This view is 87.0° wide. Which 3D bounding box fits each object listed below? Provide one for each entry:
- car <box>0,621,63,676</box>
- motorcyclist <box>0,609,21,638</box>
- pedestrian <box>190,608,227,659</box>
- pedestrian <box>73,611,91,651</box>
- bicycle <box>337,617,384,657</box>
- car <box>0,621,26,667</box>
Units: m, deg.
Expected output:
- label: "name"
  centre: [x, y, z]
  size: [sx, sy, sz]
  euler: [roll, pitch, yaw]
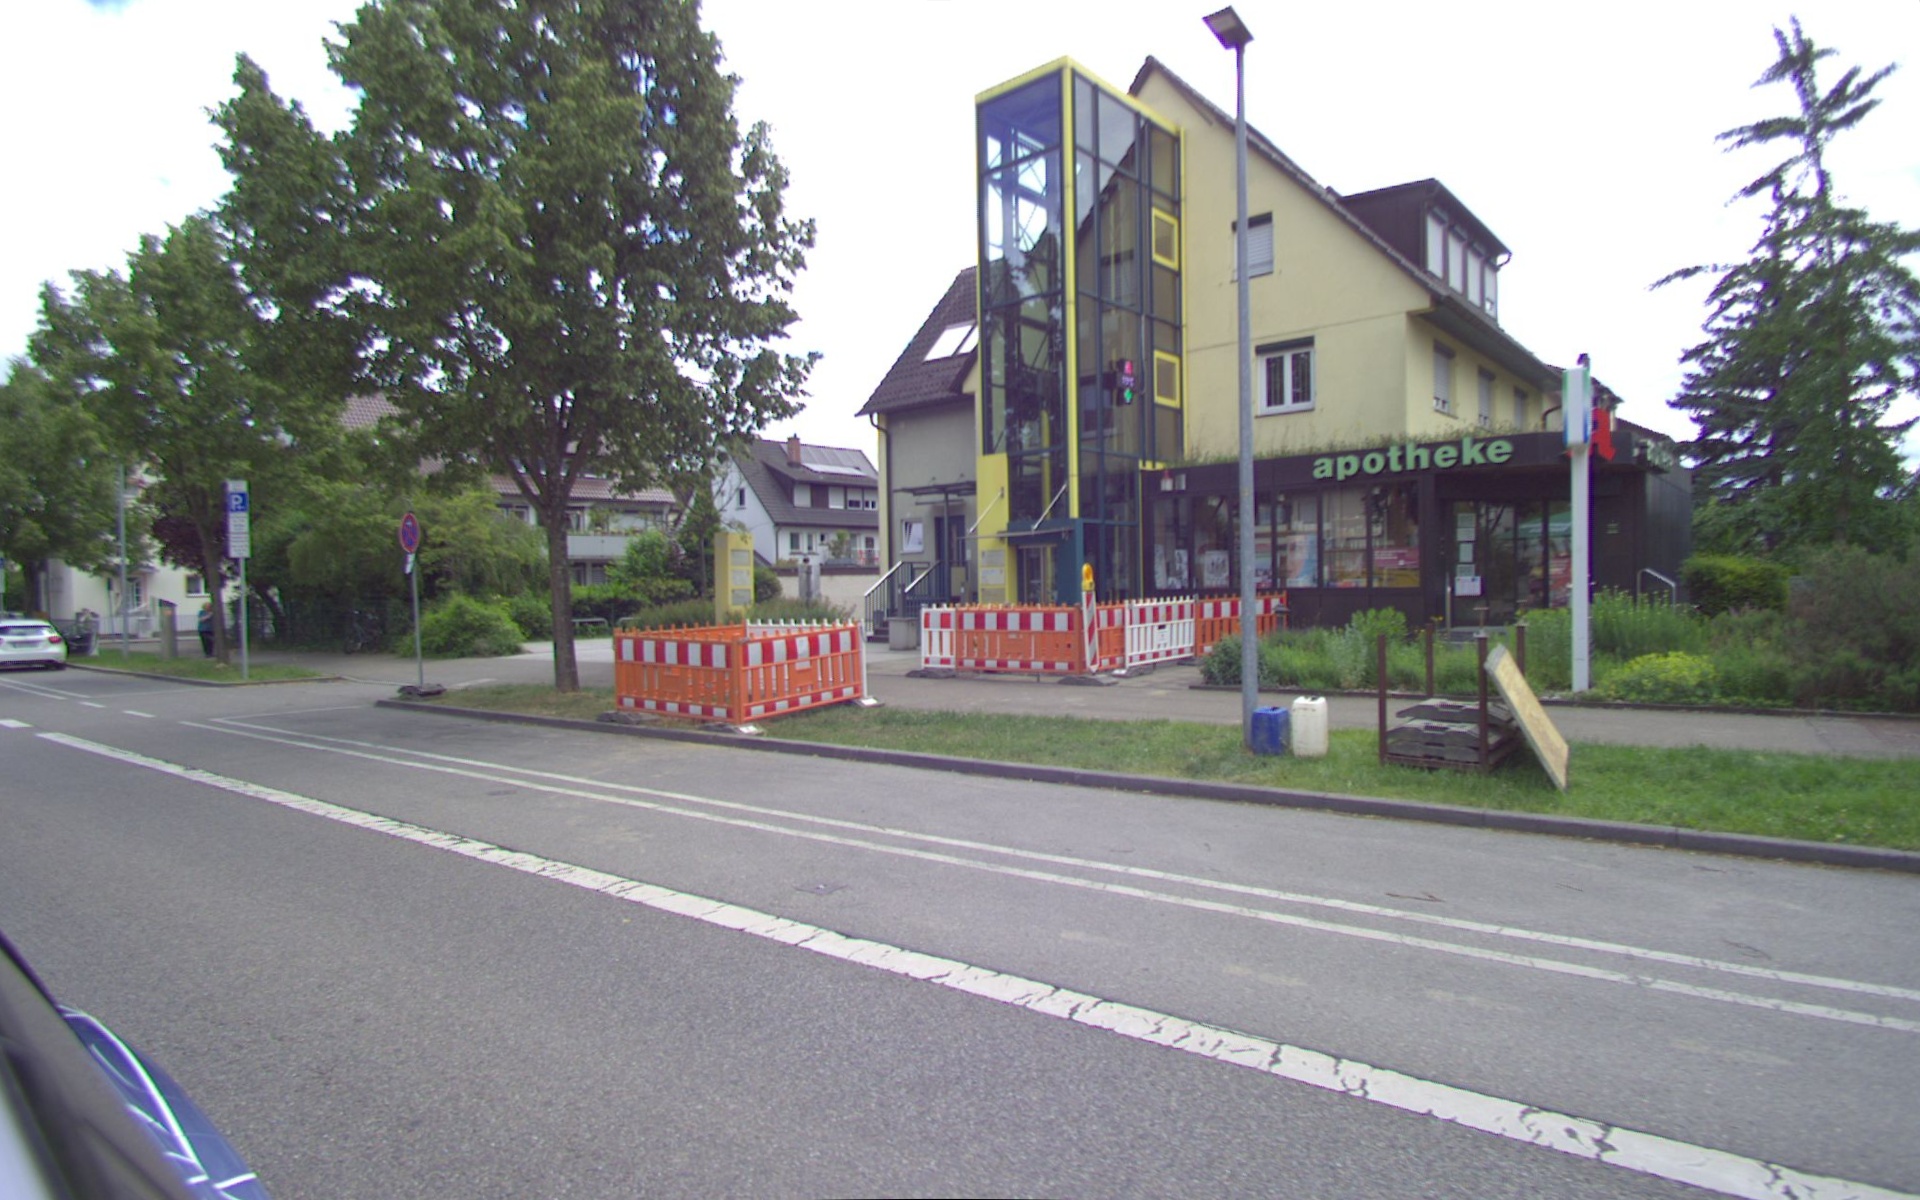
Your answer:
- label: "car"
  centre: [-26.874, 1.336, 28.727]
  size: [4.300, 1.417, 1.695]
  euler: [-1, 0, 43]
- label: "motorcyclist"
  centre: [-45.951, 1.116, 48.651]
  size: [0.753, 1.375, 1.095]
  euler: [-1, 0, 40]
- label: "pedestrian"
  centre: [-22.941, 1.019, 30.898]
  size: [0.690, 1.540, 0.582]
  euler: [-1, 0, 6]
- label: "pedestrian"
  centre: [-34.943, 1.241, 40.276]
  size: [0.806, 1.563, 0.425]
  euler: [-1, 0, 41]
- label: "bicycle"
  centre: [-16.481, 1.018, 27.810]
  size: [1.578, 1.056, 0.458]
  euler: [-1, 0, 34]
- label: "car"
  centre: [-31.795, 1.411, 32.921]
  size: [4.017, 1.431, 1.626]
  euler: [-1, -1, 40]
